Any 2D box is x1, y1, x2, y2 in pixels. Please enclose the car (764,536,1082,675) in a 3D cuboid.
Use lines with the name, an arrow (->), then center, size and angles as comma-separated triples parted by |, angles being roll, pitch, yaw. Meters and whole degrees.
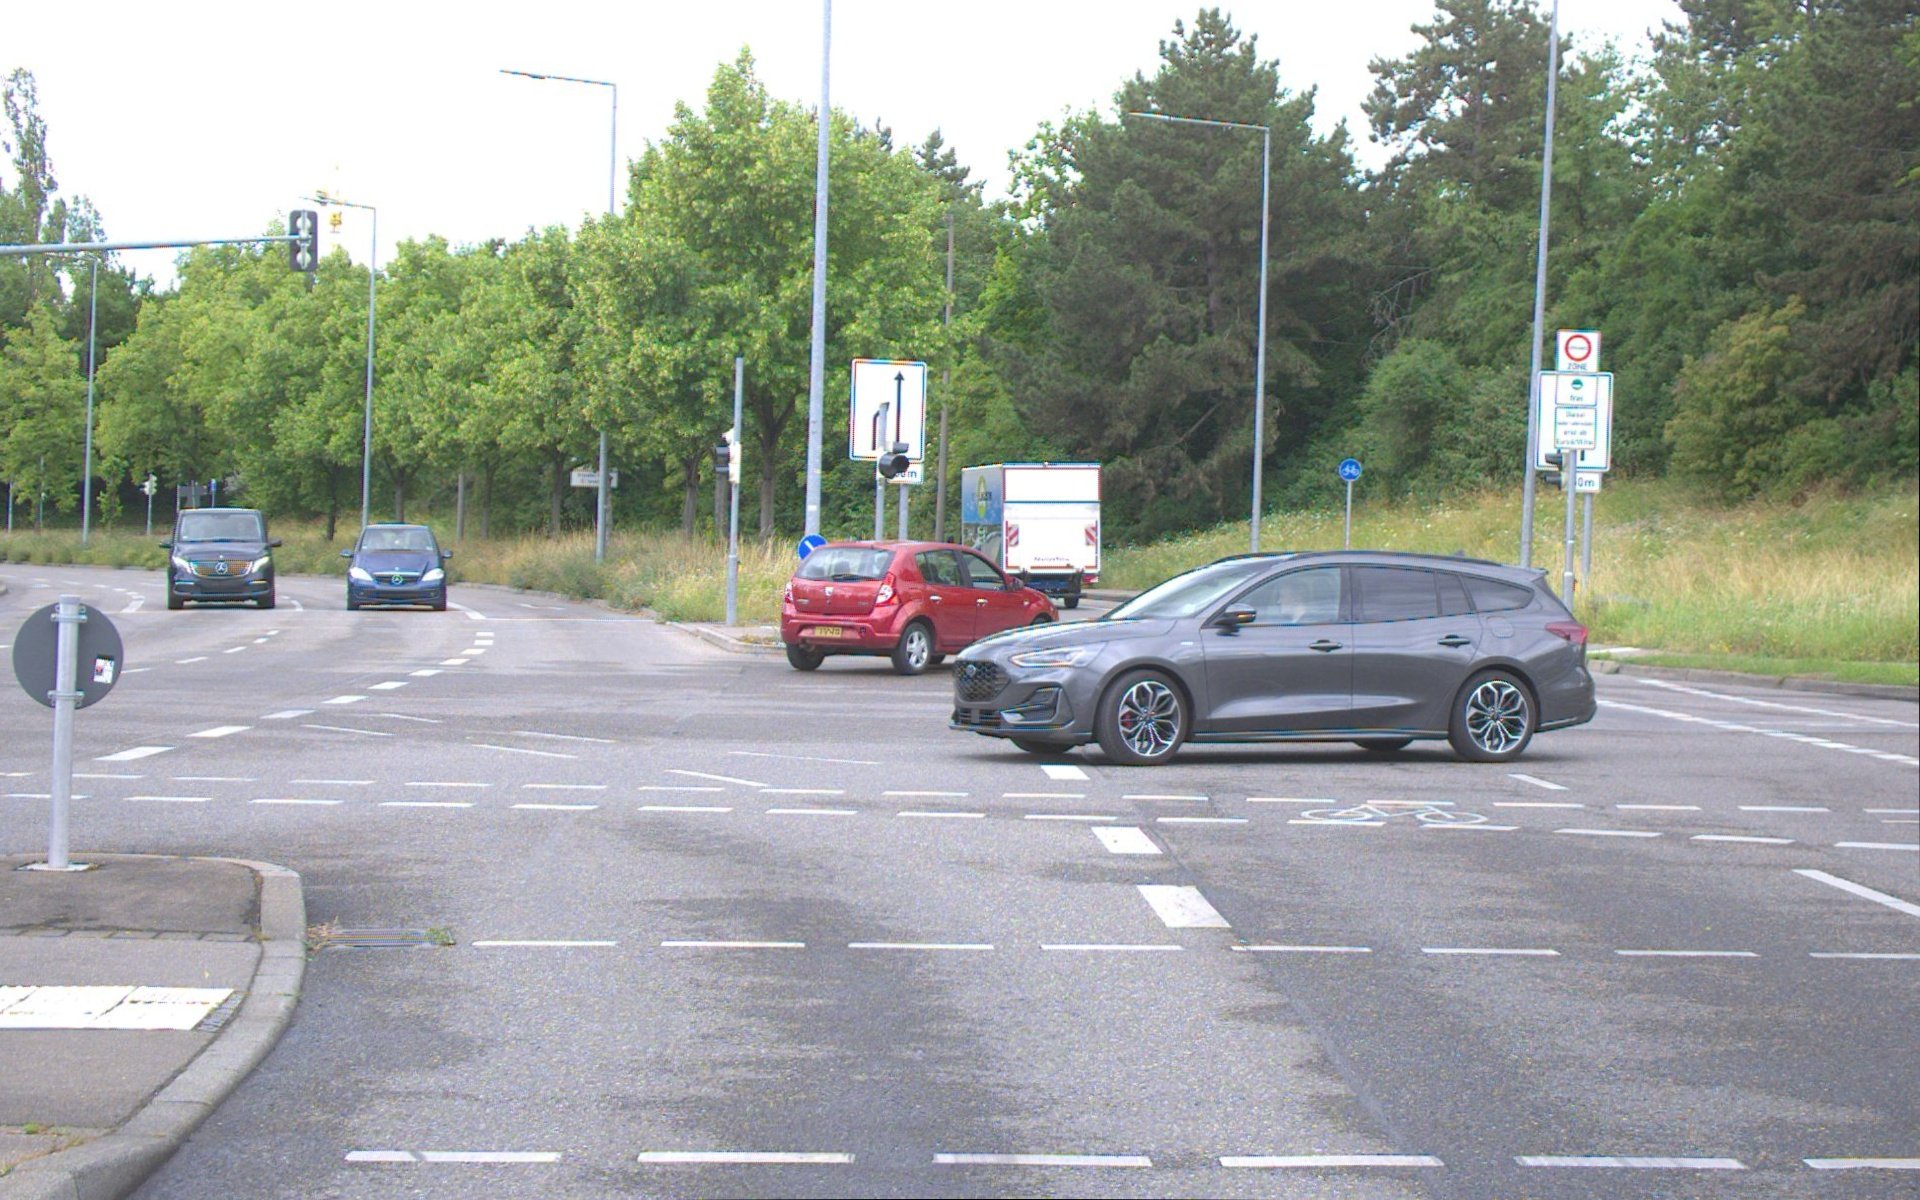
car -> -0.378, 0.041, 40.343 | 1.730, 1.511, 3.992 | -1, 1, 34

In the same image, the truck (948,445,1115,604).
truck -> 1.613, -1.800, 81.422 | 2.682, 3.586, 7.266 | 0, 1, -9

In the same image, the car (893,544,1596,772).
car -> 1.991, 0.362, 24.194 | 4.490, 1.456, 2.001 | 0, 2, -22

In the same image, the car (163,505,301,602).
car -> -13.399, -0.862, 63.492 | 1.915, 1.722, 4.001 | 0, 1, -3

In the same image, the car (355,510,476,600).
car -> -10.012, -0.849, 63.060 | 1.915, 1.571, 4.001 | 1, 1, -13
